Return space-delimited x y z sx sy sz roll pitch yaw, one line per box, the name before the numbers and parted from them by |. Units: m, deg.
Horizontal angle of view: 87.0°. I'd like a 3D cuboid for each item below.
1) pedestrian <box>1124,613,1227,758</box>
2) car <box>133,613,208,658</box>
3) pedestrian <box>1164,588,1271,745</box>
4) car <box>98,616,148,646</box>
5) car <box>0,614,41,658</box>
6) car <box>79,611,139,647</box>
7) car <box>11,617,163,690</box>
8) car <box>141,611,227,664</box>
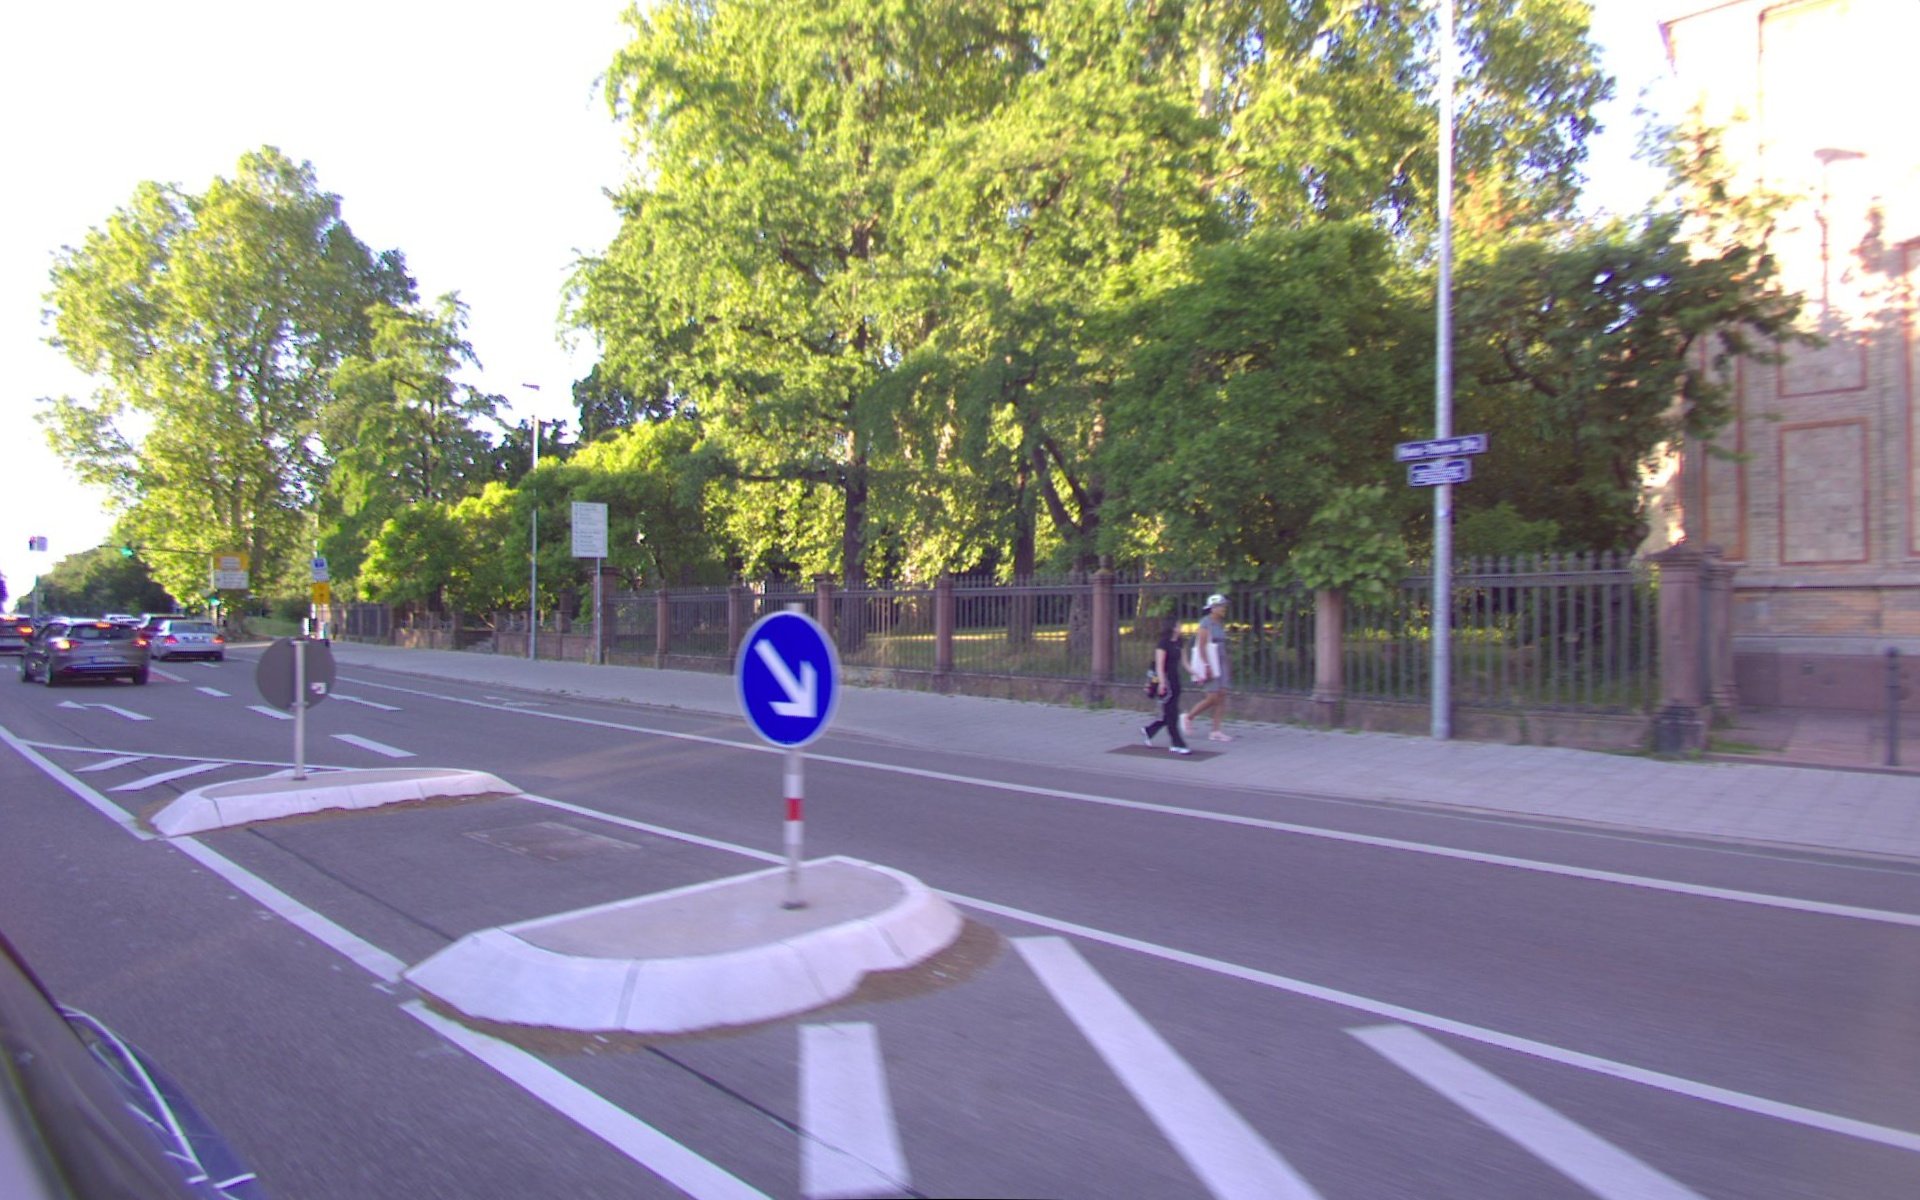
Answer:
pedestrian | 2.427 0.930 11.420 0.666 1.524 0.836 -5 2 -43
car | -31.790 1.394 40.712 1.970 1.697 4.003 1 -1 -44
pedestrian | 3.062 0.762 12.078 0.795 1.751 0.852 -3 1 -27
car | -50.059 1.812 60.498 1.970 1.697 4.003 1 -1 -44
car | -37.252 1.370 39.388 3.894 1.633 1.878 -1 -1 43
car | -41.834 1.380 49.720 1.970 1.697 4.003 1 -1 -44
car | -19.415 1.131 22.465 3.994 1.475 1.755 -1 -3 38
car | -26.588 1.247 34.627 1.894 1.697 4.003 1 -1 -44
